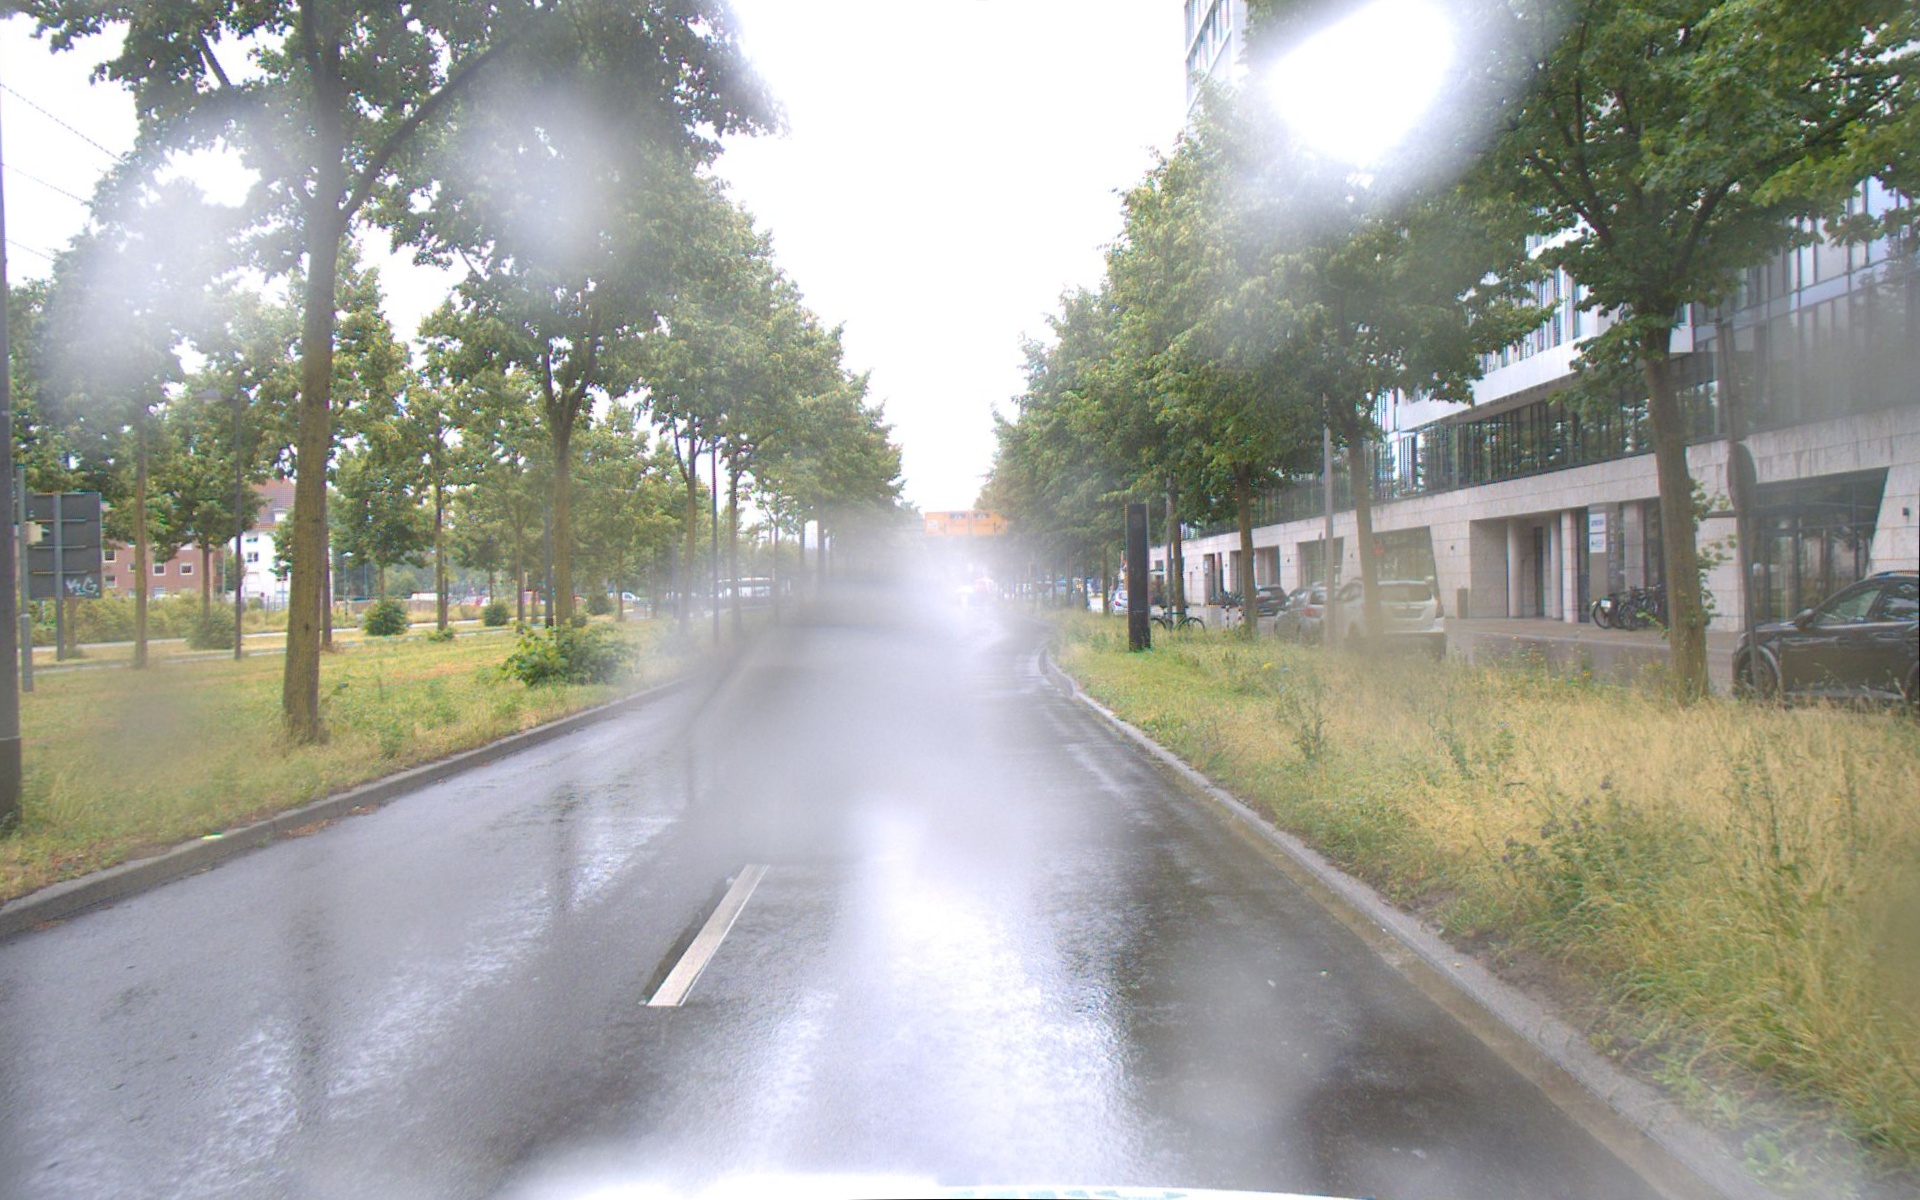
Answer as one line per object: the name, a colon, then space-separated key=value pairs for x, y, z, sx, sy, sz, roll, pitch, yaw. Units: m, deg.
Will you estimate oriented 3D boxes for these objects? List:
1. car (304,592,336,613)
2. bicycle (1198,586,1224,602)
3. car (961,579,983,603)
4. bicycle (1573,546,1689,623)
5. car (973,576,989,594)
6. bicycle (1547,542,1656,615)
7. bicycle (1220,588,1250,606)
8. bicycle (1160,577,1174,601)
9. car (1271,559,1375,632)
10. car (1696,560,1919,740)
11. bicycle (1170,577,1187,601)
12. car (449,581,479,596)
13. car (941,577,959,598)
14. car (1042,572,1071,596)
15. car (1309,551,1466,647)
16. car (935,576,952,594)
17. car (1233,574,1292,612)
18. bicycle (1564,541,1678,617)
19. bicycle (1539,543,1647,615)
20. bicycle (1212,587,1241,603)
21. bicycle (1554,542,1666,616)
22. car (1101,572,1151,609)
car: x=-69.875 y=0.283 z=180.525 sx=1.953 sy=2.048 sz=4.000 roll=-1 pitch=3 yaw=-1
bicycle: x=16.851 y=-0.378 z=110.952 sx=1.659 sy=1.046 sz=0.423 roll=-1 pitch=0 yaw=2
car: x=1.103 y=-0.830 z=152.745 sx=1.901 sy=2.048 sz=4.001 roll=-1 pitch=3 yaw=0
bicycle: x=17.107 y=-0.388 z=42.219 sx=2.623 sy=1.893 sz=0.707 roll=-1 pitch=0 yaw=4
car: x=2.674 y=-1.931 z=212.190 sx=1.952 sy=2.048 sz=4.002 roll=-1 pitch=3 yaw=1
bicycle: x=17.263 y=-0.570 z=44.552 sx=2.623 sy=1.893 sz=0.707 roll=-1 pitch=0 yaw=4
bicycle: x=17.339 y=-0.193 z=104.249 sx=1.769 sy=1.046 sz=0.401 roll=-1 pitch=0 yaw=2
bicycle: x=16.206 y=-0.866 z=129.346 sx=0.631 sy=1.752 sz=3.120 roll=-1 pitch=3 yaw=-1
car: x=8.418 y=-0.150 z=38.623 sx=1.592 sy=1.516 sz=3.656 roll=-1 pitch=3 yaw=0
car: x=9.009 y=0.396 z=15.393 sx=1.919 sy=1.539 sz=4.476 roll=-1 pitch=0 yaw=-7
bicycle: x=16.986 y=-0.849 z=128.635 sx=0.756 sy=1.752 sz=3.120 roll=-1 pitch=3 yaw=-1
car: x=-63.302 y=-1.433 z=211.084 sx=3.486 sy=1.768 sz=1.693 roll=-2 pitch=3 yaw=-25
car: x=-1.081 y=-1.400 z=178.124 sx=1.849 sy=2.048 sz=4.001 roll=-1 pitch=3 yaw=0
car: x=7.460 y=-1.262 z=128.586 sx=1.867 sy=1.822 sz=4.687 roll=-1 pitch=0 yaw=-1
car: x=8.599 y=-0.092 z=33.696 sx=1.953 sy=1.698 sz=4.724 roll=-1 pitch=3 yaw=0
car: x=-1.970 y=-1.805 z=199.724 sx=1.952 sy=2.048 sz=4.002 roll=-1 pitch=3 yaw=2
car: x=14.697 y=-0.375 z=80.582 sx=1.953 sy=1.526 sz=5.035 roll=-6 pitch=1 yaw=1
bicycle: x=17.156 y=-0.536 z=42.983 sx=2.623 sy=1.893 sz=0.707 roll=-1 pitch=0 yaw=4
bicycle: x=17.320 y=-0.581 z=45.298 sx=2.623 sy=1.893 sz=0.707 roll=-1 pitch=0 yaw=4
bicycle: x=17.087 y=-0.320 z=106.085 sx=1.769 sy=1.046 sz=0.541 roll=-1 pitch=0 yaw=2
bicycle: x=17.180 y=-0.559 z=43.765 sx=2.623 sy=1.893 sz=0.707 roll=-1 pitch=0 yaw=4
car: x=7.942 y=-0.486 z=79.493 sx=1.843 sy=1.532 sz=4.724 roll=-1 pitch=3 yaw=0
